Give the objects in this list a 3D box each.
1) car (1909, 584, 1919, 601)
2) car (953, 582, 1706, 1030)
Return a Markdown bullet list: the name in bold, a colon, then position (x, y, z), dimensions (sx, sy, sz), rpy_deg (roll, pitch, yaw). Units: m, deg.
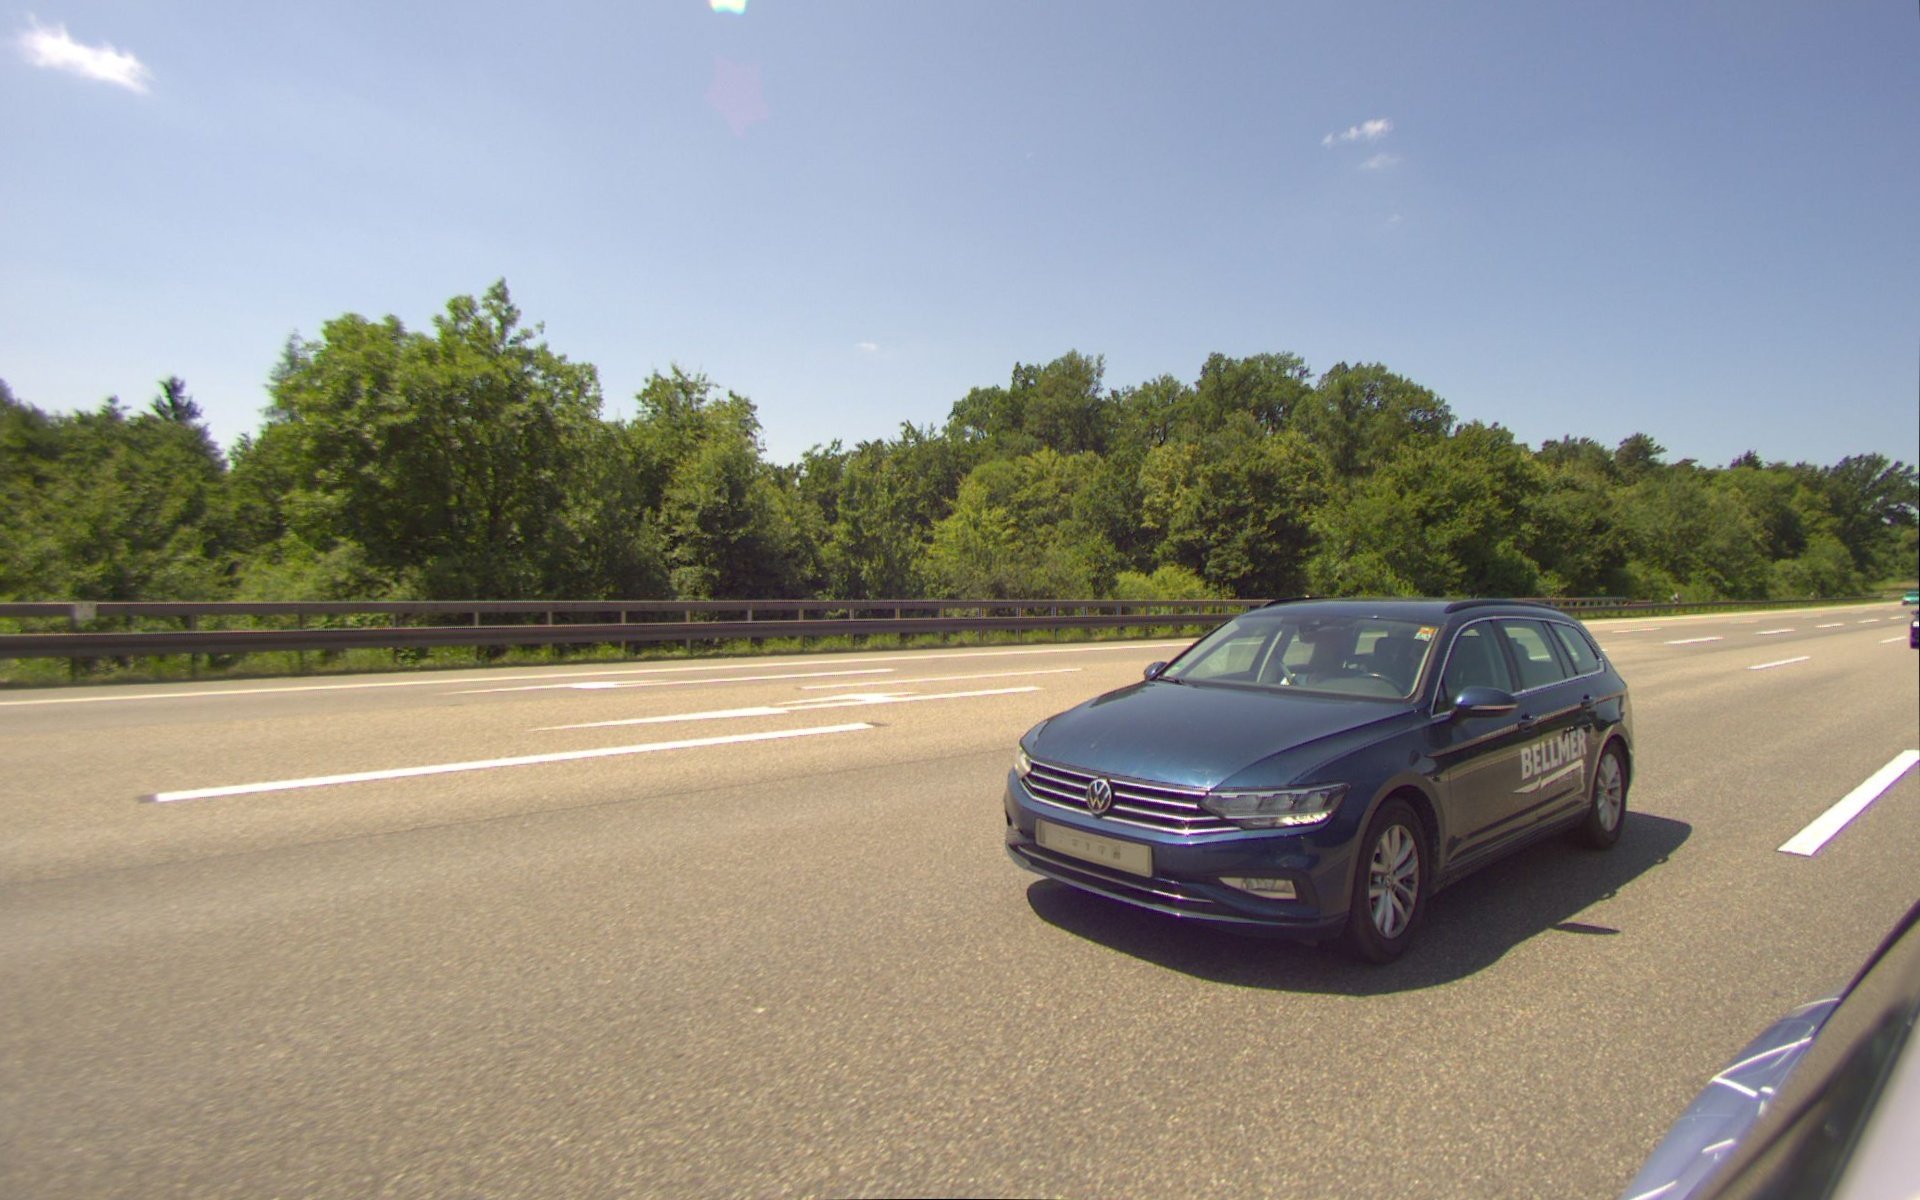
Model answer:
- **car**: position (100.117, -0.788, 104.907), dimensions (4.053, 1.700, 1.999), rpy_deg (-1, 4, -39)
- **car**: position (2.388, 0.661, 5.626), dimensions (4.873, 1.465, 1.733), rpy_deg (0, 2, -40)
